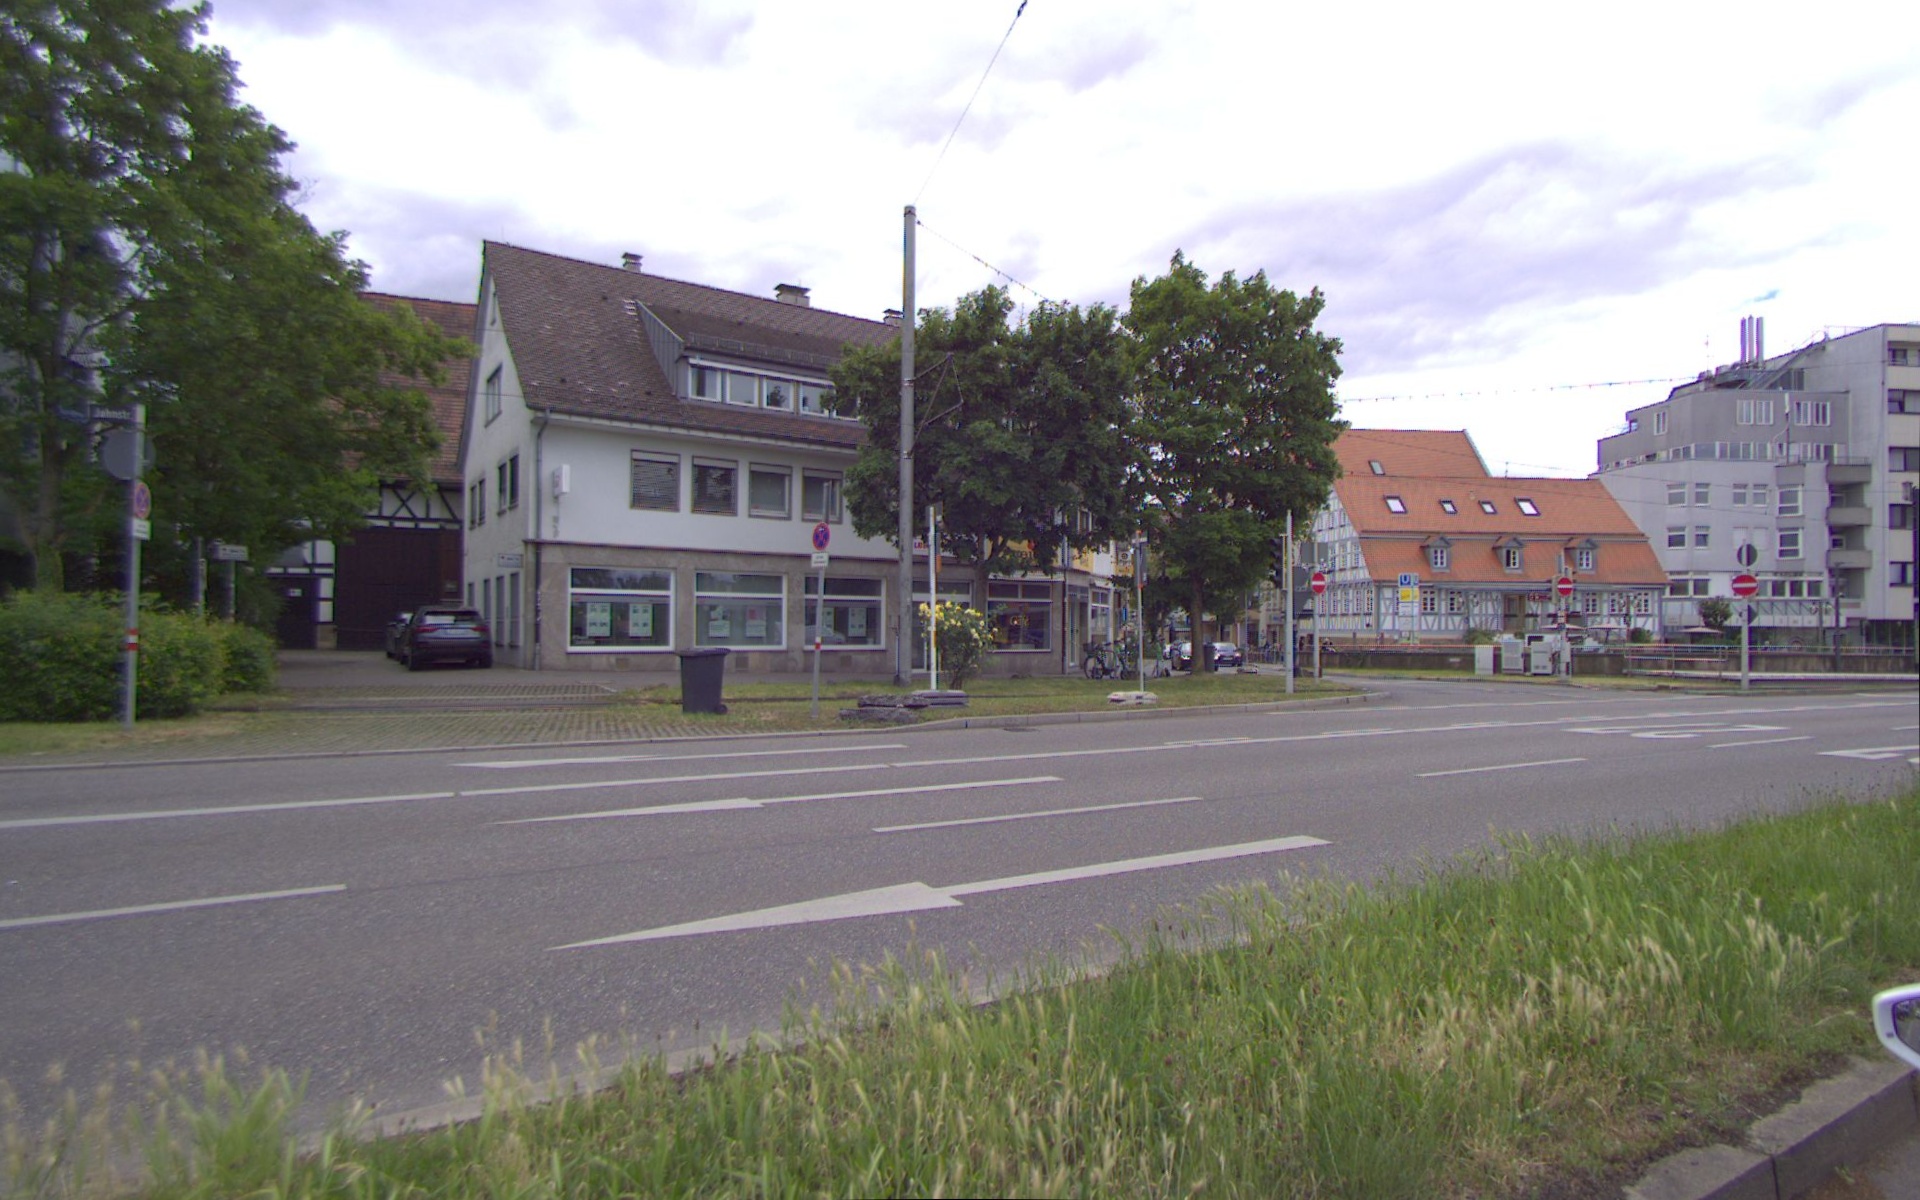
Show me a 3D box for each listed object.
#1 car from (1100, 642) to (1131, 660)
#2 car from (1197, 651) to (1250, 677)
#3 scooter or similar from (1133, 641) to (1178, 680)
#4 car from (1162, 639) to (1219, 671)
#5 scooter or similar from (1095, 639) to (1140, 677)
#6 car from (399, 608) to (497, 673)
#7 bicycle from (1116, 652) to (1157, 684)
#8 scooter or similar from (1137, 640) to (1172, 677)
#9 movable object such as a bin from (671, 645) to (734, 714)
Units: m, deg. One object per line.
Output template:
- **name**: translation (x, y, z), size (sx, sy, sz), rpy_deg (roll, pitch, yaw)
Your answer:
- **car**: translation (12.484, 4.117, 80.921), size (1.947, 1.312, 3.912), rpy_deg (1, -1, 1)
- **car**: translation (14.955, 3.603, 57.169), size (1.948, 1.312, 3.911), rpy_deg (1, -2, 0)
- **scooter or similar**: translation (5.529, 1.711, 28.452), size (1.157, 1.059, 0.490), rpy_deg (1, -1, -16)
- **car**: translation (11.110, 2.633, 48.716), size (1.790, 1.399, 4.685), rpy_deg (1, -2, 2)
- **scooter or similar**: translation (4.590, 1.684, 29.245), size (1.158, 1.100, 0.601), rpy_deg (1, -1, -20)
- **car**: translation (-13.104, 0.963, 25.589), size (1.839, 1.445, 3.966), rpy_deg (0, 0, -33)
- **bicycle**: translation (4.707, 1.805, 26.879), size (0.419, 0.815, 1.254), rpy_deg (1, -2, -26)
- **scooter or similar**: translation (5.783, 1.737, 29.853), size (0.978, 1.100, 0.422), rpy_deg (1, -1, -24)
- **movable object such as a bin**: translation (-3.996, 1.217, 15.560), size (0.828, 1.026, 0.561), rpy_deg (1, -1, -28)
